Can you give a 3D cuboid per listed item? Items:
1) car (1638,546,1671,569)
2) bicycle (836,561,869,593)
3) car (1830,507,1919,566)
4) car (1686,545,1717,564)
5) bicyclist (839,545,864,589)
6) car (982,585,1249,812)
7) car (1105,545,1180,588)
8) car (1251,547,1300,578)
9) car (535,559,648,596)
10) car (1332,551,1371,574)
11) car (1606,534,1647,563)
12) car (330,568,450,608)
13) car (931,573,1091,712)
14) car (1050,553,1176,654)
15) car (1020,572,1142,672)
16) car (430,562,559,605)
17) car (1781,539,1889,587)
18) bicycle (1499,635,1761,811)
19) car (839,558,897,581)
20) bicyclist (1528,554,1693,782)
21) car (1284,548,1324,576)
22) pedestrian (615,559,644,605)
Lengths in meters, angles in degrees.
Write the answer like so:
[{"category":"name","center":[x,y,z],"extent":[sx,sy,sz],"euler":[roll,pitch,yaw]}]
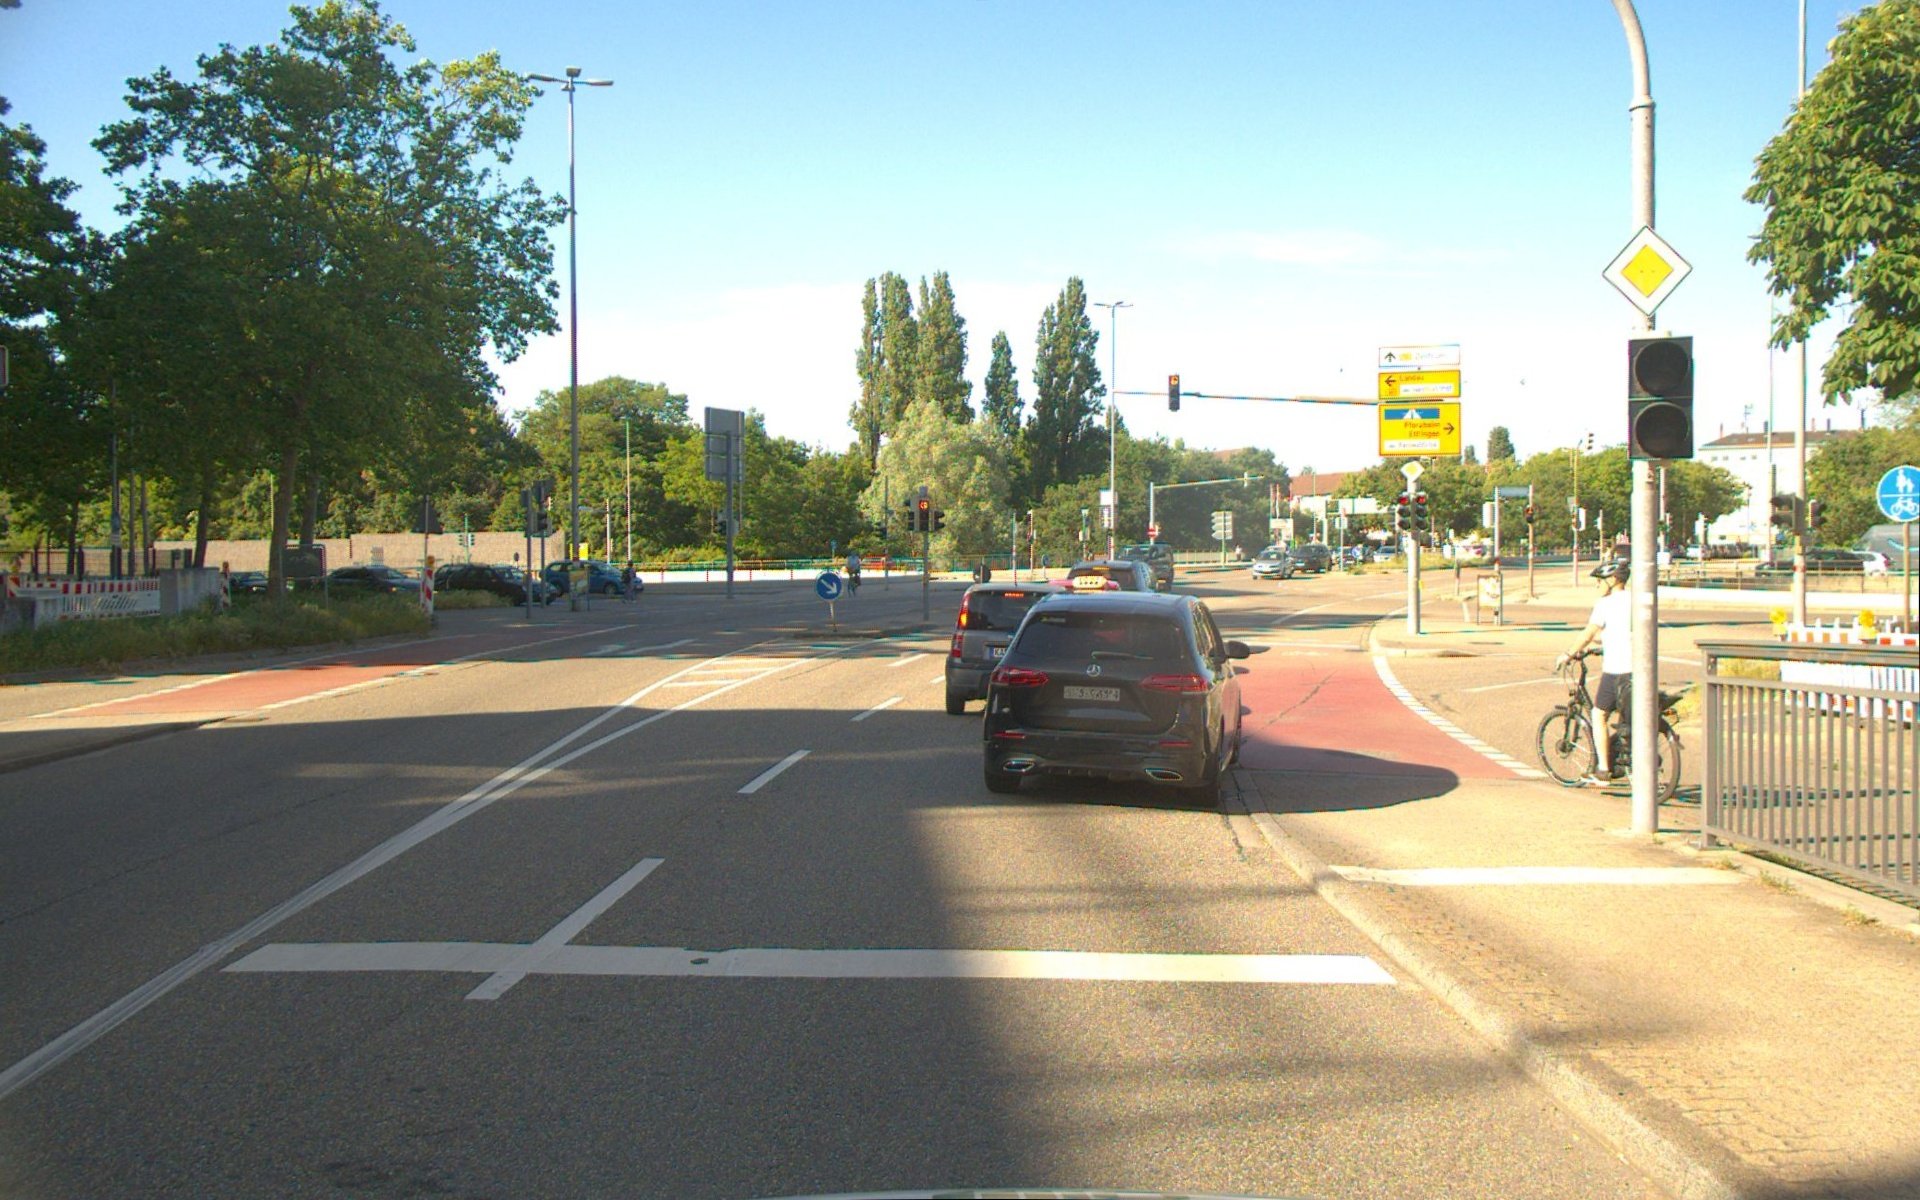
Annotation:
[{"category":"car","center":[55.750,-3.437,132.738],"extent":[1.956,1.825,3.993],"euler":[0,1,30]},{"category":"bicycle","center":[-4.344,-0.940,66.759],"extent":[0.672,1.223,2.329],"euler":[0,3,13]},{"category":"car","center":[44.949,-3.036,79.800],"extent":[2.232,2.653,4.833],"euler":[1,-1,-32]},{"category":"car","center":[66.918,-4.072,149.224],"extent":[1.958,1.668,3.989],"euler":[0,2,33]},{"category":"bicyclist","center":[-4.382,-1.342,66.598],"extent":[0.672,1.730,1.199],"euler":[0,2,13]},{"category":"car","center":[1.409,0.660,13.475],"extent":[1.713,1.520,4.004],"euler":[1,1,12]},{"category":"car","center":[8.750,-1.631,78.908],"extent":[1.955,1.969,4.846],"euler":[0,2,28]},{"category":"car","center":[16.591,-1.991,86.962],"extent":[1.783,1.610,4.104],"euler":[0,2,22]},{"category":"car","center":[-15.347,-0.948,68.828],"extent":[4.347,1.463,1.826],"euler":[0,2,23]},{"category":"car","center":[25.847,-2.487,109.020],"extent":[1.953,1.478,4.000],"euler":[0,1,21]},{"category":"car","center":[46.610,-3.602,115.576],"extent":[1.958,1.825,3.989],"euler":[0,-1,32]},{"category":"car","center":[-21.658,-0.470,62.849],"extent":[4.351,1.463,1.824],"euler":[0,2,28]},{"category":"car","center":[0.674,0.450,20.662],"extent":[1.782,1.515,4.002],"euler":[-1,1,3]},{"category":"car","center":[3.134,0.006,32.995],"extent":[1.829,1.821,4.418],"euler":[2,2,14]},{"category":"car","center":[2.085,0.305,27.568],"extent":[1.781,1.505,4.004],"euler":[1,1,7]},{"category":"car","center":[-16.617,-0.578,58.965],"extent":[4.351,1.463,1.824],"euler":[0,2,28]},{"category":"car","center":[39.325,-1.640,74.378],"extent":[3.931,2.049,1.987],"euler":[0,-1,44]},{"category":"bicycle","center":[5.185,0.906,13.024],"extent":[0.784,1.130,2.397],"euler":[0,2,-9]},{"category":"car","center":[-6.550,-2.195,118.053],"extent":[3.903,1.575,2.001],"euler":[0,2,4]},{"category":"bicyclist","center":[5.175,0.521,13.216],"extent":[0.784,1.735,1.084],"euler":[1,0,-6]},{"category":"car","center":[20.325,-2.230,97.618],"extent":[1.688,1.610,4.004],"euler":[0,2,22]},{"category":"pedestrian","center":[-11.953,-0.640,59.910],"extent":[0.672,1.565,1.366],"euler":[1,-4,3]}]
